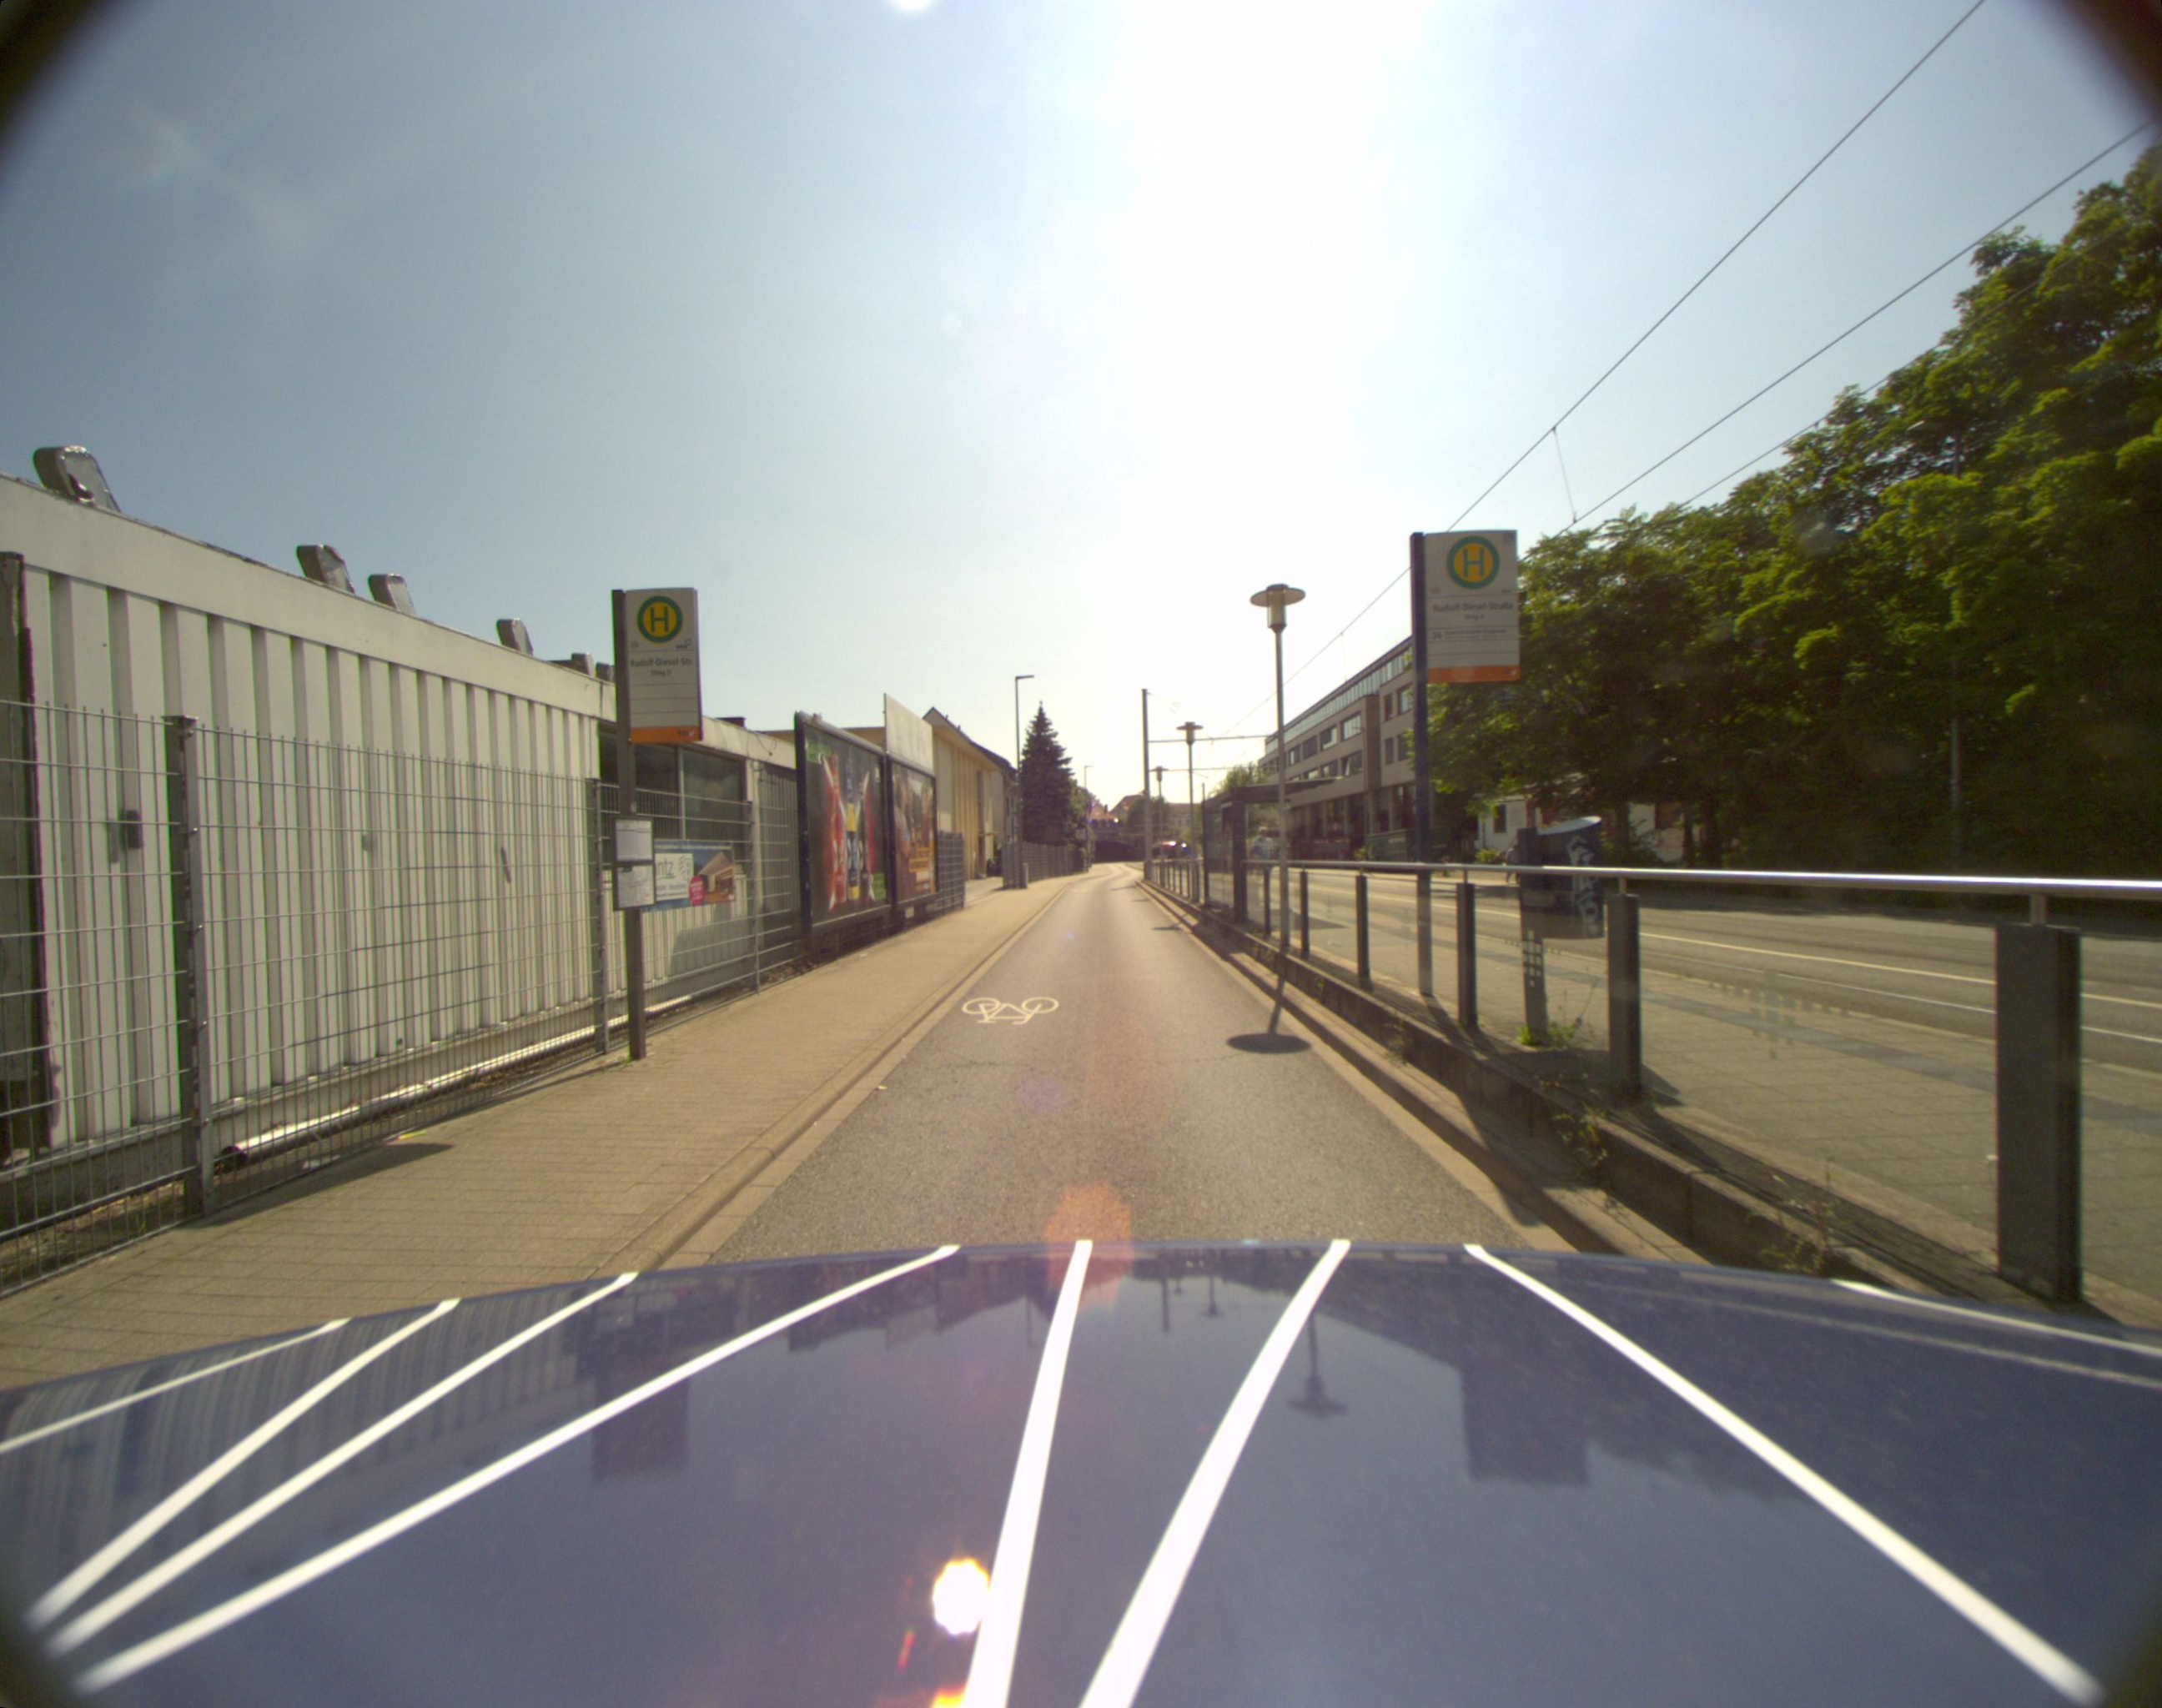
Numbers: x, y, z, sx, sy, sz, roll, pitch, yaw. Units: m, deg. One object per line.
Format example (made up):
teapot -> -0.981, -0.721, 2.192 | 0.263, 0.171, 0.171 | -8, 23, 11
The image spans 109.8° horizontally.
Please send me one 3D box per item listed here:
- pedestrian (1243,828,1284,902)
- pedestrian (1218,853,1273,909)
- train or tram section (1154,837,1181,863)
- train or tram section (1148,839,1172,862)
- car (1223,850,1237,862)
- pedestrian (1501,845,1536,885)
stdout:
pedestrian -> 4.400, 0.271, 18.360 | 0.725, 1.714, 0.945 | -2, 0, 2
pedestrian -> 3.365, 0.549, 15.643 | 0.945, 1.093, 0.726 | -2, 0, 1
train or tram section -> 12.250, -0.495, 109.073 | 2.680, 3.464, 12.328 | -2, 0, 1
train or tram section -> 12.610, -0.517, 121.920 | 2.680, 3.464, 13.390 | -2, 0, 1
car -> 21.348, 0.309, 109.030 | 1.870, 1.608, 4.003 | -1, 0, 9
pedestrian -> 16.936, 0.432, 29.434 | 0.873, 1.518, 0.846 | -2, 0, 1
